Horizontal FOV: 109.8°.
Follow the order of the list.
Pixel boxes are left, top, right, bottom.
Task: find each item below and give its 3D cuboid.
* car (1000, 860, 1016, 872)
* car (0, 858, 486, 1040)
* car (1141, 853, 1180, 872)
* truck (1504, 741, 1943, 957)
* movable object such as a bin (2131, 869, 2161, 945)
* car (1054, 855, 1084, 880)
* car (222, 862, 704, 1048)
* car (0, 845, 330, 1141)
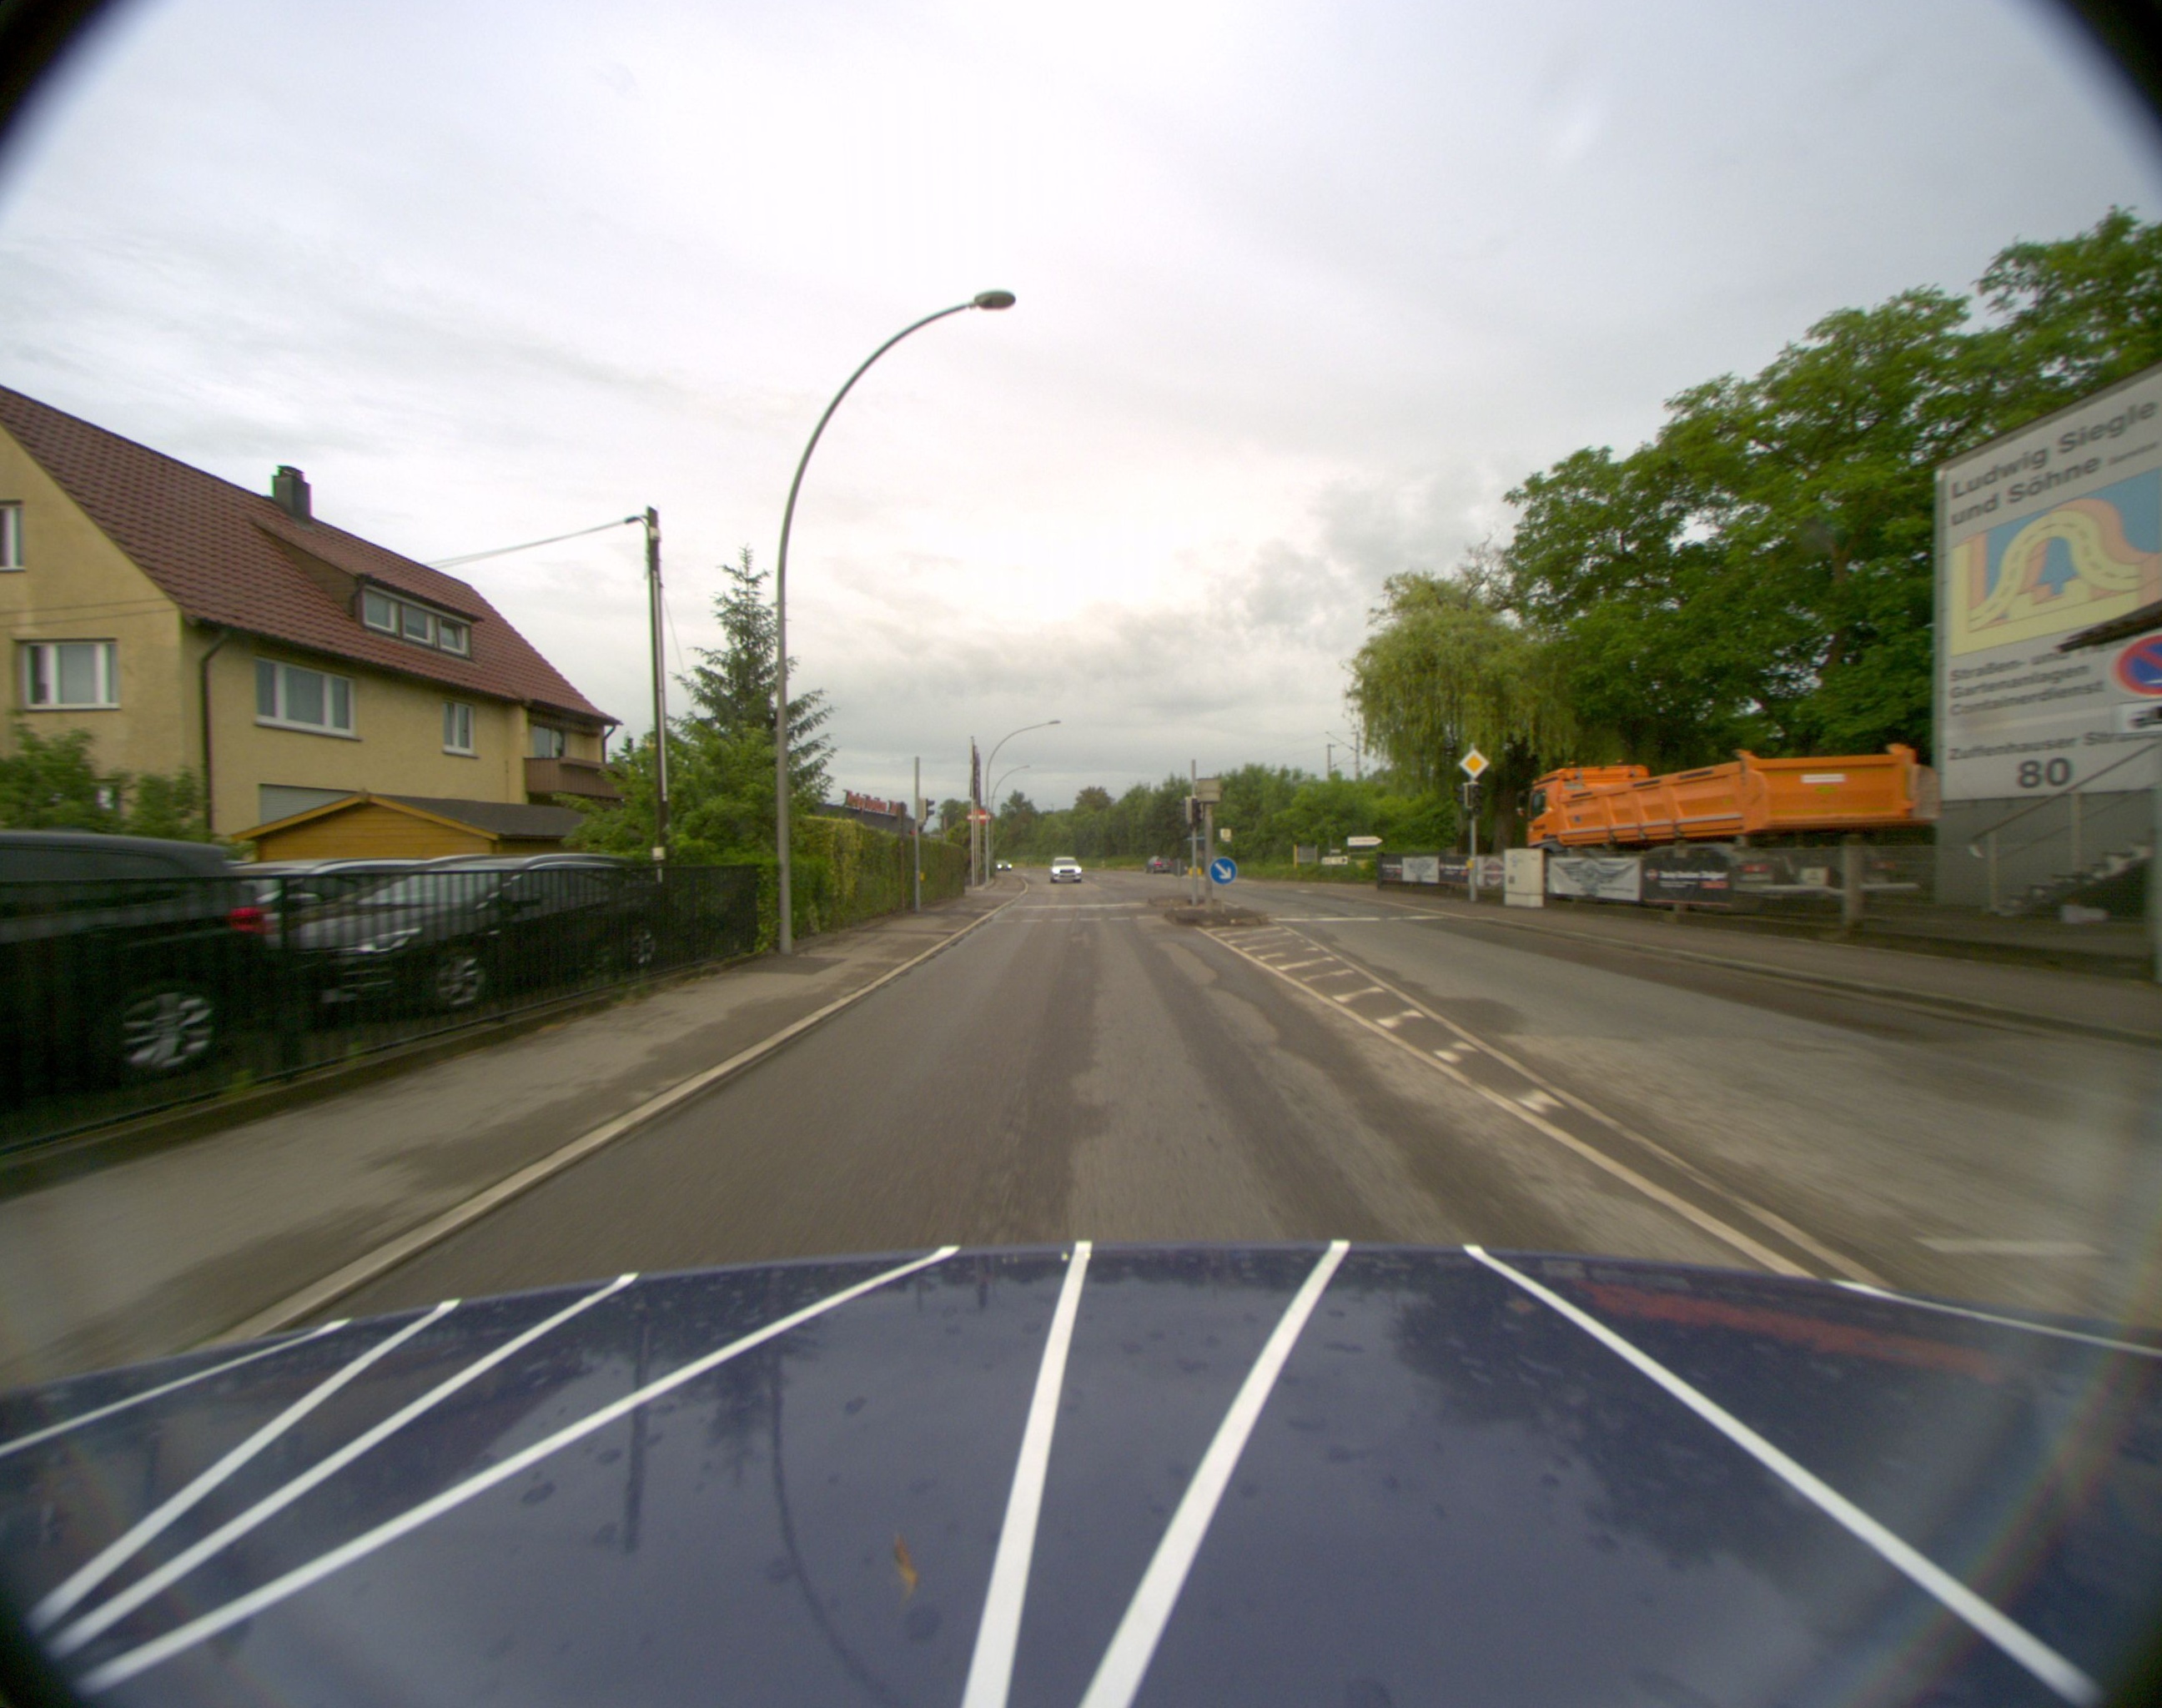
[{"bbox_3d":[-9.930,1.579,102.973,1.839,1.609,3.996,-1,0,-11],"label":"car"},{"bbox_3d":[-9.152,0.844,8.398,1.740,1.346,3.905,-3,2,6],"label":"car"},{"bbox_3d":[6.802,0.766,65.696,2.000,1.465,4.697,-3,-1,-10],"label":"car"},{"bbox_3d":[12.980,-0.229,16.913,2.703,3.393,9.071,-3,2,5],"label":"truck"},{"bbox_3d":[14.065,0.668,9.670,0.750,0.950,0.460,-1,0,1],"label":"movable object such as a bin"},{"bbox_3d":[-0.826,0.882,50.469,1.848,1.565,3.826,-1,0,-2],"label":"car"},{"bbox_3d":[-6.264,0.881,8.506,1.665,1.448,4.245,-3,0,4],"label":"car"},{"bbox_3d":[-6.755,0.834,3.520,1.665,1.558,4.566,-3,2,5],"label":"car"}]
